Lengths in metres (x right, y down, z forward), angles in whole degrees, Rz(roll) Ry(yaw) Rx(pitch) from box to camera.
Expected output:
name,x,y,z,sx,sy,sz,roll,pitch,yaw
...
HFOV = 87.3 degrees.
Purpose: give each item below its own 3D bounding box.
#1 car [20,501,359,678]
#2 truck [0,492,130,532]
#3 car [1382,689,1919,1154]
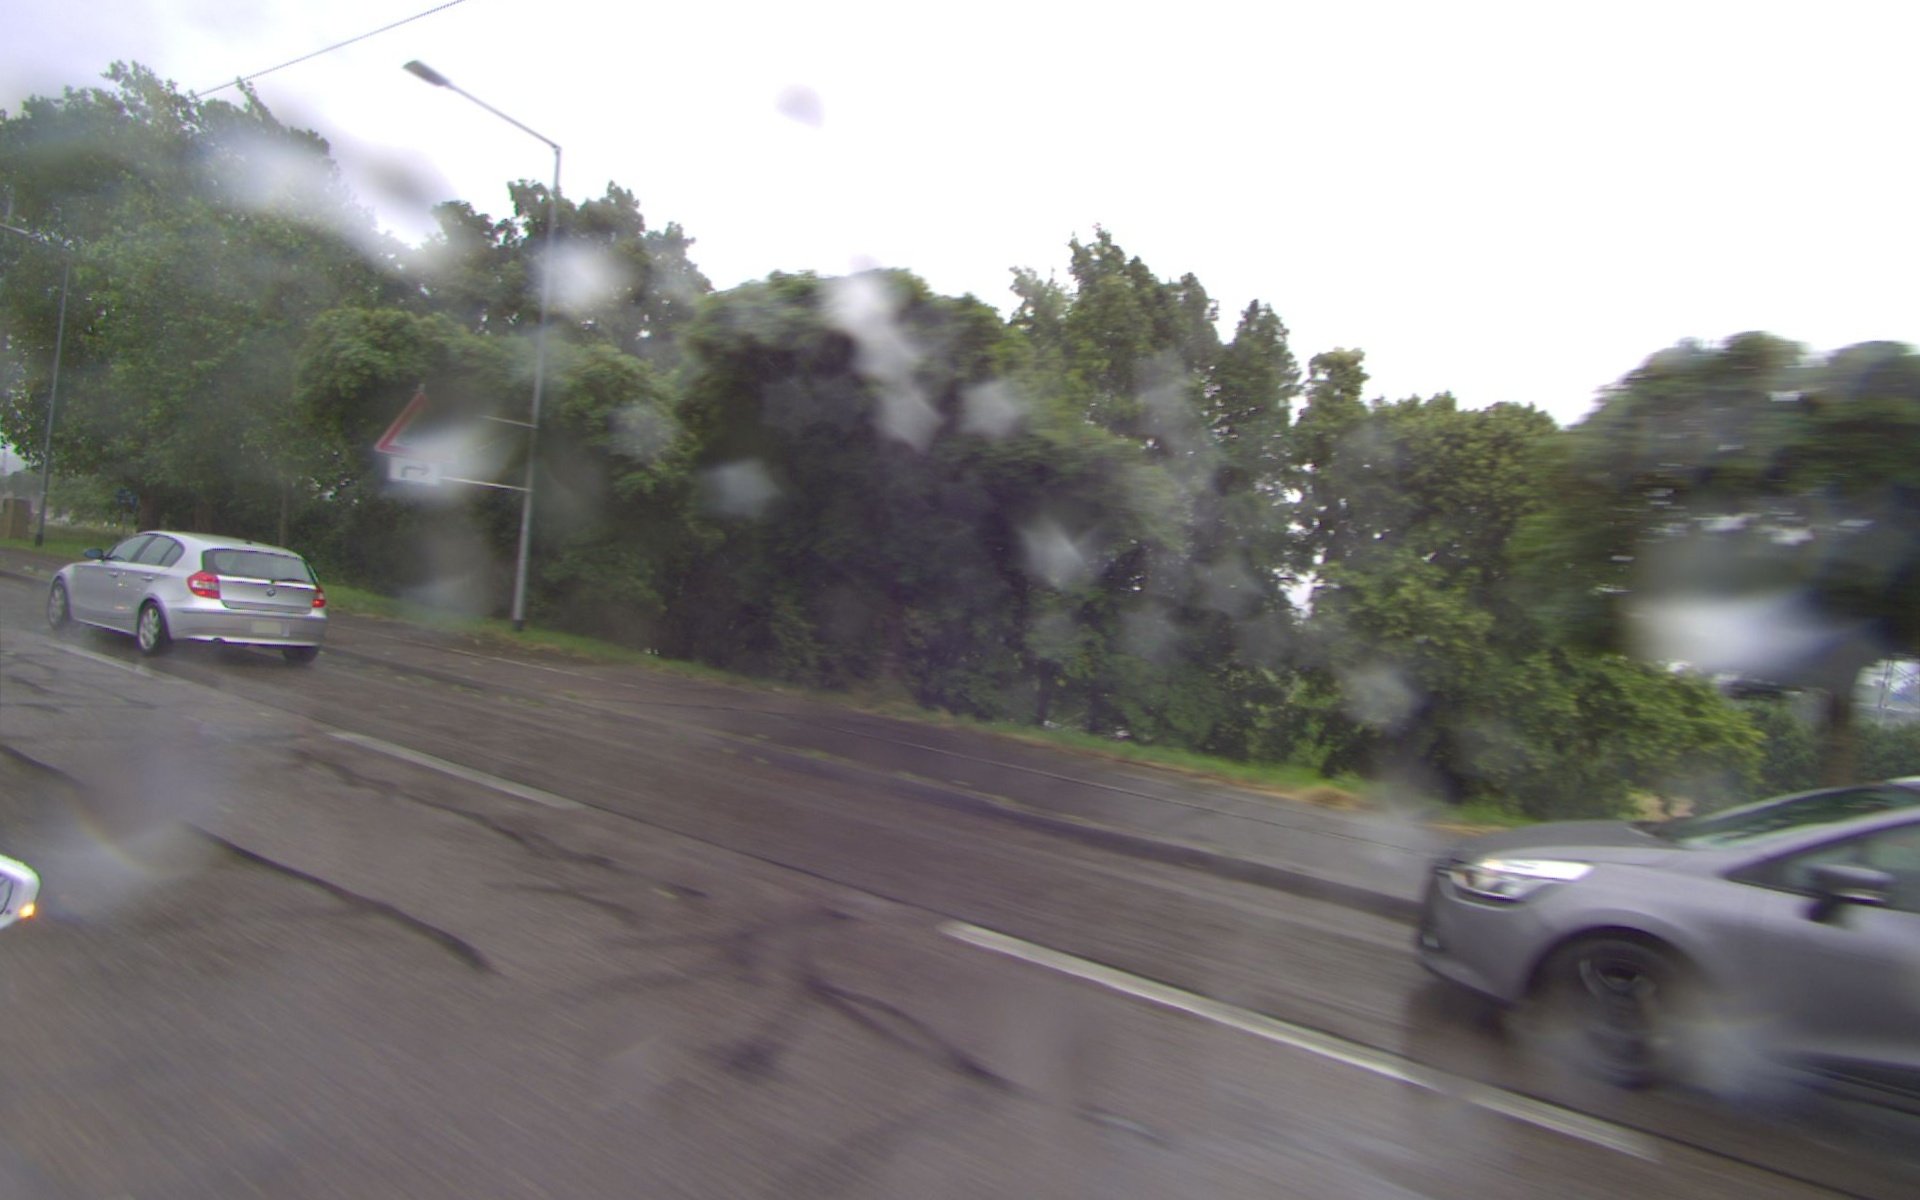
name,x,y,z,sx,sy,sz,roll,pitch,yaw
car,-9.557,-0.172,12.377,4.528,1.520,1.630,8,-1,31
truck,-137.339,-13.438,153.076,16.574,4.212,3.267,5,1,-29
car,4.236,1.411,4.198,4.206,1.373,1.891,8,-1,32
